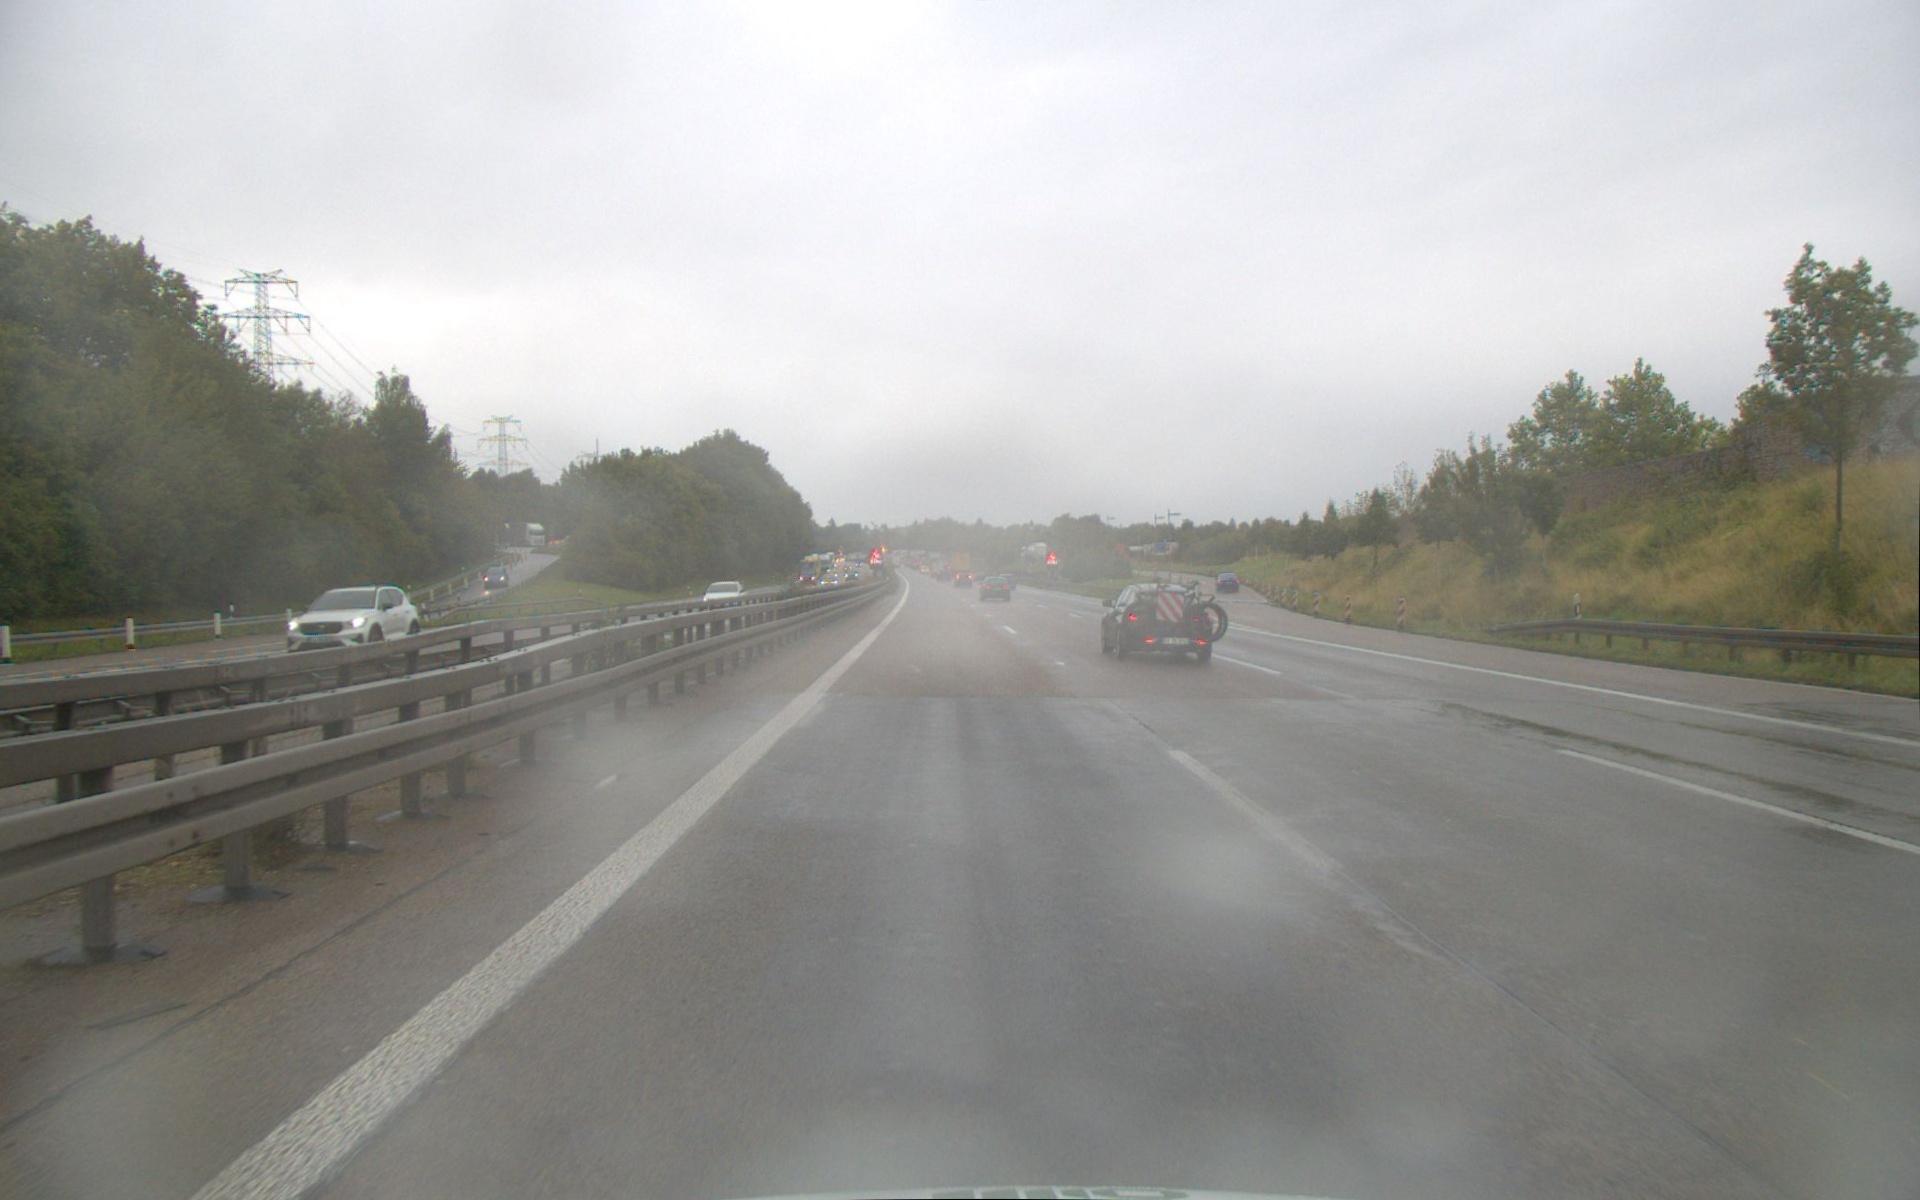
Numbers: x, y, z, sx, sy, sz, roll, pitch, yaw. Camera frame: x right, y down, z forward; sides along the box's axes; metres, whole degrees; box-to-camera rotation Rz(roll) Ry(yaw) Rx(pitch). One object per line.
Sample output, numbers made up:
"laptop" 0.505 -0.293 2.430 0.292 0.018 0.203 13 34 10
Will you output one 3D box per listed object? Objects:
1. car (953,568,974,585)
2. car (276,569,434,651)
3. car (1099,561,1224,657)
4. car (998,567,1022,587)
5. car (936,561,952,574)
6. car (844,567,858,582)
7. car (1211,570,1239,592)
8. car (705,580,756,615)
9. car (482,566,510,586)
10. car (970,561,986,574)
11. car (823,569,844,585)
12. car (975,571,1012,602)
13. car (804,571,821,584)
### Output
"car" 0.303 -2.392 169.167 1.953 1.657 3.999 -1 1 -2
"car" -13.609 0.181 37.503 1.866 1.694 4.713 -1 1 -1
"car" 3.858 0.150 32.537 2.015 1.700 5.524 0 0 3
"car" 4.721 -2.186 156.195 1.953 1.791 3.999 1 1 -2
"car" -2.157 -4.371 223.561 1.953 1.657 3.999 -1 1 -2
"car" -15.664 -3.702 237.414 1.785 2.072 4.789 -2 1 -1
"car" 21.352 -1.533 133.540 1.882 1.739 4.003 -1 1 4
"car" -10.647 -0.160 76.861 1.721 1.487 4.761 -3 1 -1
"car" -38.807 -1.998 138.502 1.933 1.570 3.989 -1 1 -12
"car" 2.485 -4.470 228.690 1.953 1.657 3.999 -1 1 -2
"car" -12.849 -2.381 167.908 1.785 1.538 4.789 -2 1 -1
"car" 2.001 -0.845 100.663 1.953 1.791 3.999 -1 1 -2
"car" -18.745 -2.890 210.402 1.785 1.651 4.789 -2 1 -1
